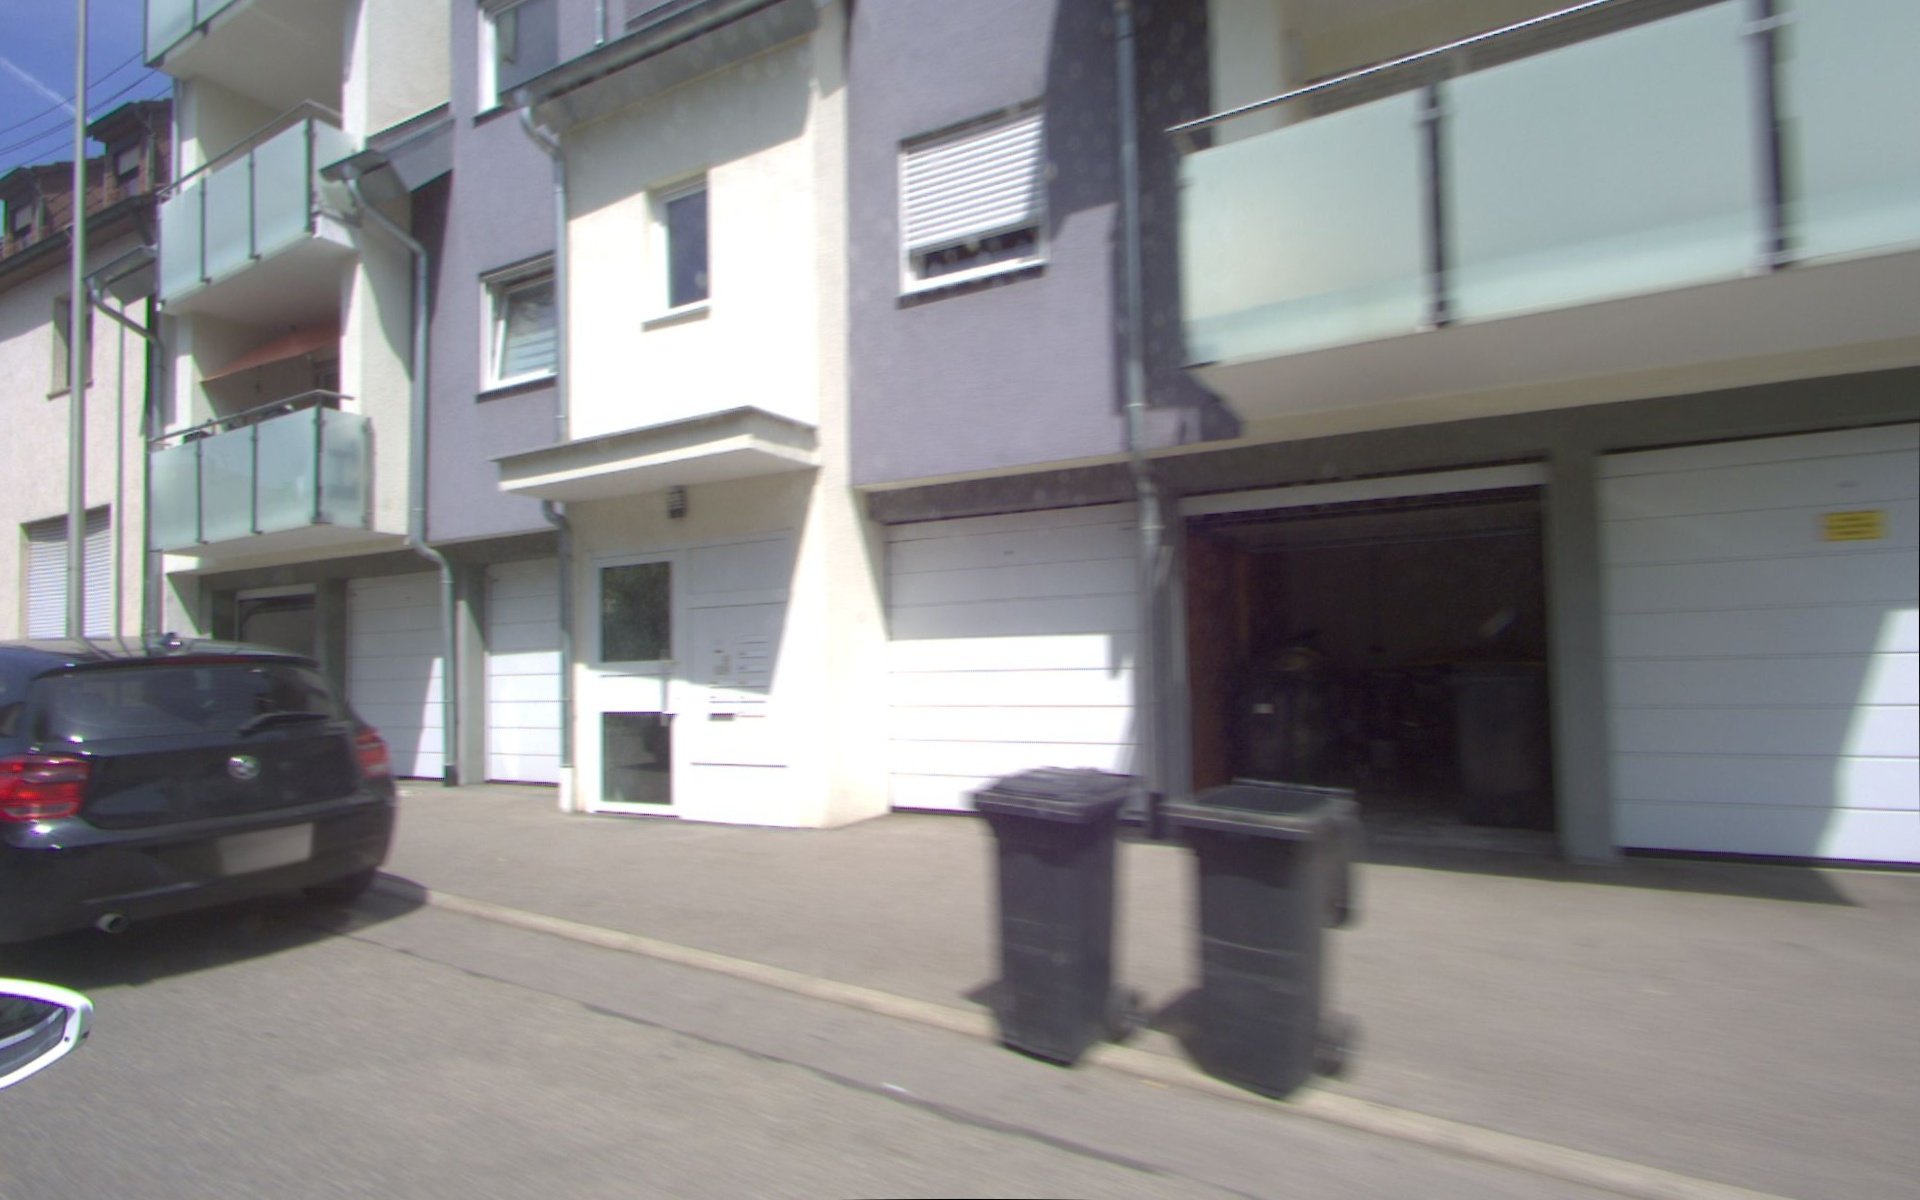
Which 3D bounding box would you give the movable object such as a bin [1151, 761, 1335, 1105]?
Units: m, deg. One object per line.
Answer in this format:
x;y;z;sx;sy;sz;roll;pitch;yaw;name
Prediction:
0.935;1.039;3.288;0.484;0.937;0.430;-1;-1;31;movable object such as a bin

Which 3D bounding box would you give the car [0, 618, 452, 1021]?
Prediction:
-4.821;0.859;5.403;4.229;1.442;1.794;-2;-2;32;car

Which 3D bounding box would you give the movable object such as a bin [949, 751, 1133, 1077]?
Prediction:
0.293;1.063;3.555;0.510;0.969;0.430;-1;0;31;movable object such as a bin
